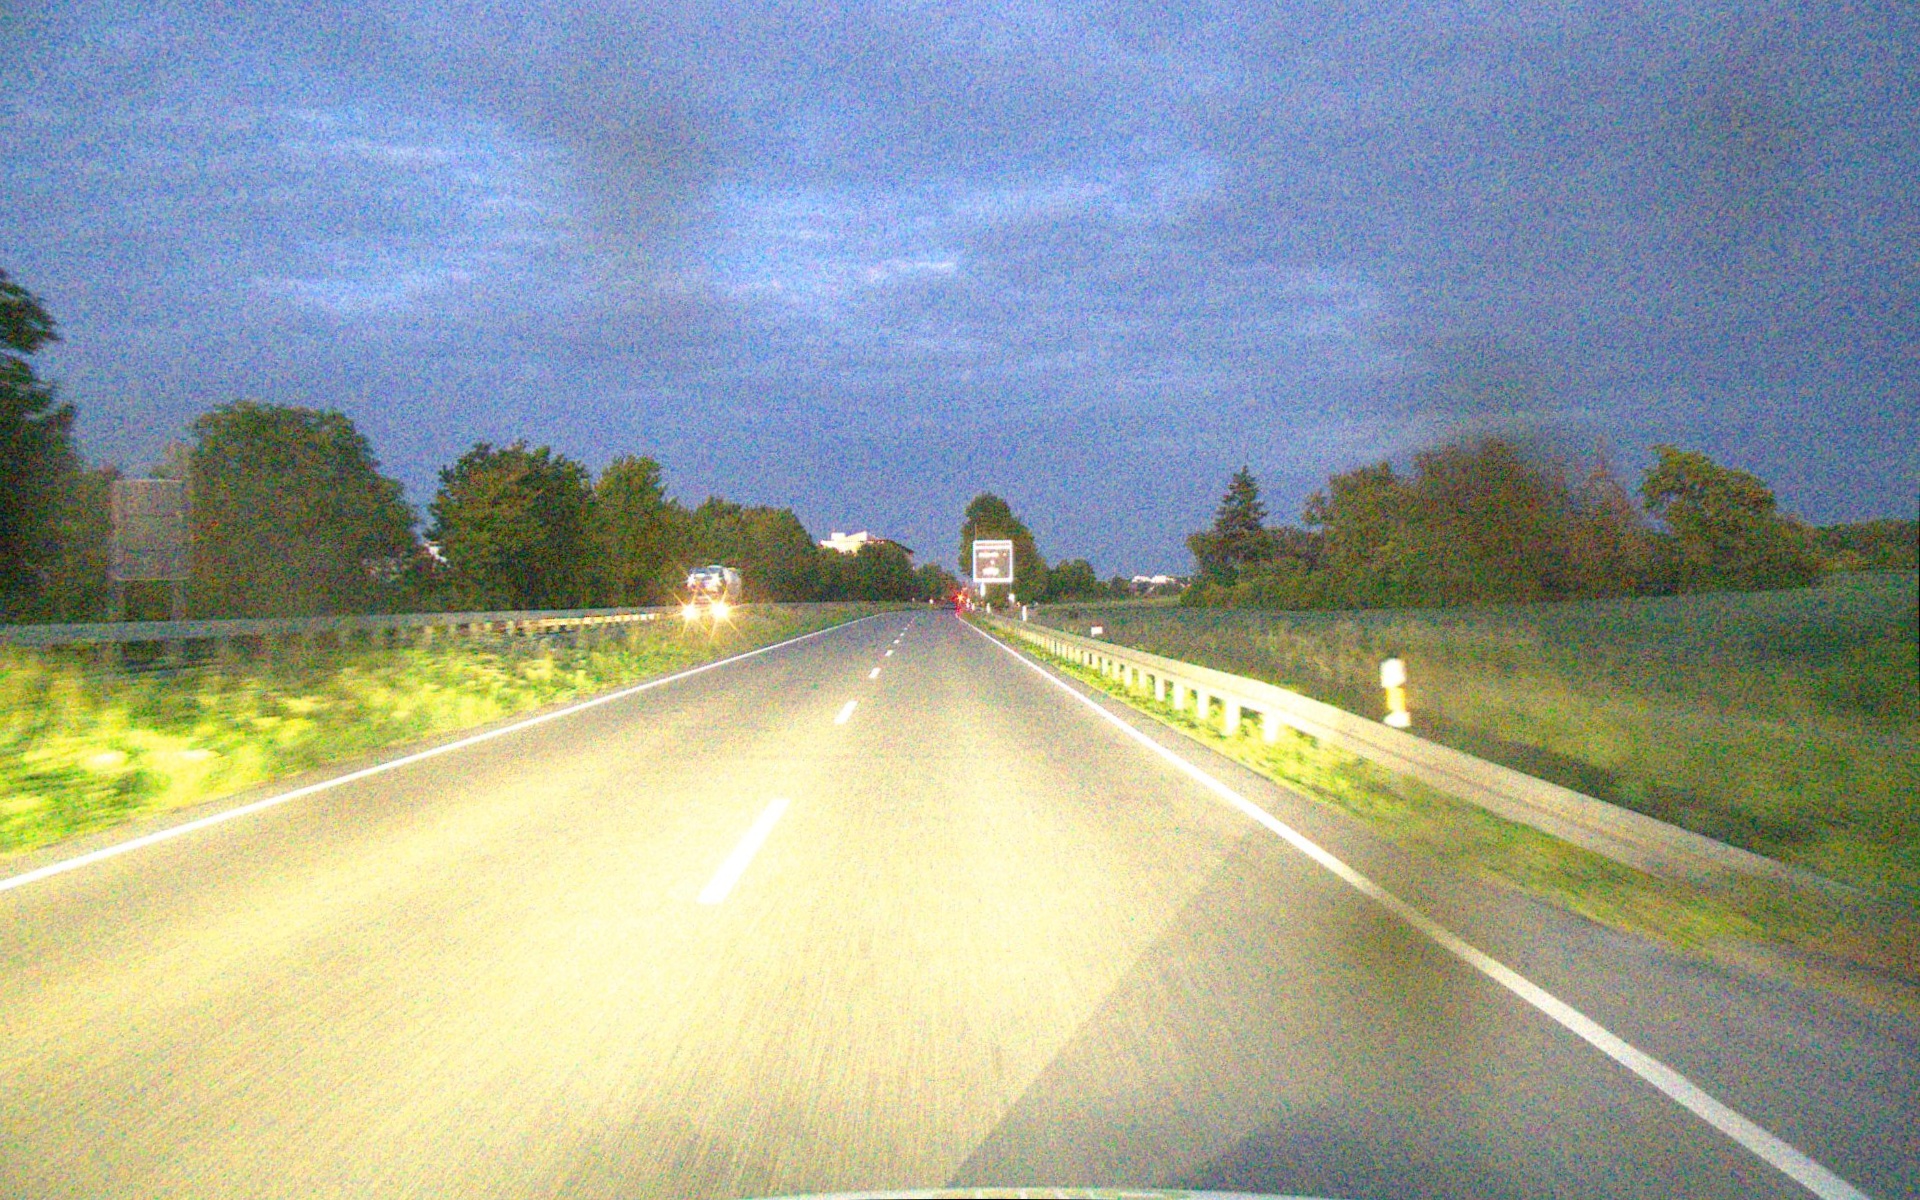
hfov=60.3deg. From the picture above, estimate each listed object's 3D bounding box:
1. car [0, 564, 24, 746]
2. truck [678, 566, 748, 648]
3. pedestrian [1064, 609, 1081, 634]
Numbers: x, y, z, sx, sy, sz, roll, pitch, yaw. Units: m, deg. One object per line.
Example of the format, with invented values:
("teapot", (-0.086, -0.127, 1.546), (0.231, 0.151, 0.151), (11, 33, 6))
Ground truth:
("car", (-12.170, 0.622, 17.201), (1.926, 2.136, 5.345), (1, 0, -2))
("truck", (-17.293, 0.400, 116.813), (3.138, 5.347, 12.606), (-3, 0, -1))
("pedestrian", (7.596, 1.427, 111.266), (1.040, 1.672, 1.118), (1, 0, -1))
